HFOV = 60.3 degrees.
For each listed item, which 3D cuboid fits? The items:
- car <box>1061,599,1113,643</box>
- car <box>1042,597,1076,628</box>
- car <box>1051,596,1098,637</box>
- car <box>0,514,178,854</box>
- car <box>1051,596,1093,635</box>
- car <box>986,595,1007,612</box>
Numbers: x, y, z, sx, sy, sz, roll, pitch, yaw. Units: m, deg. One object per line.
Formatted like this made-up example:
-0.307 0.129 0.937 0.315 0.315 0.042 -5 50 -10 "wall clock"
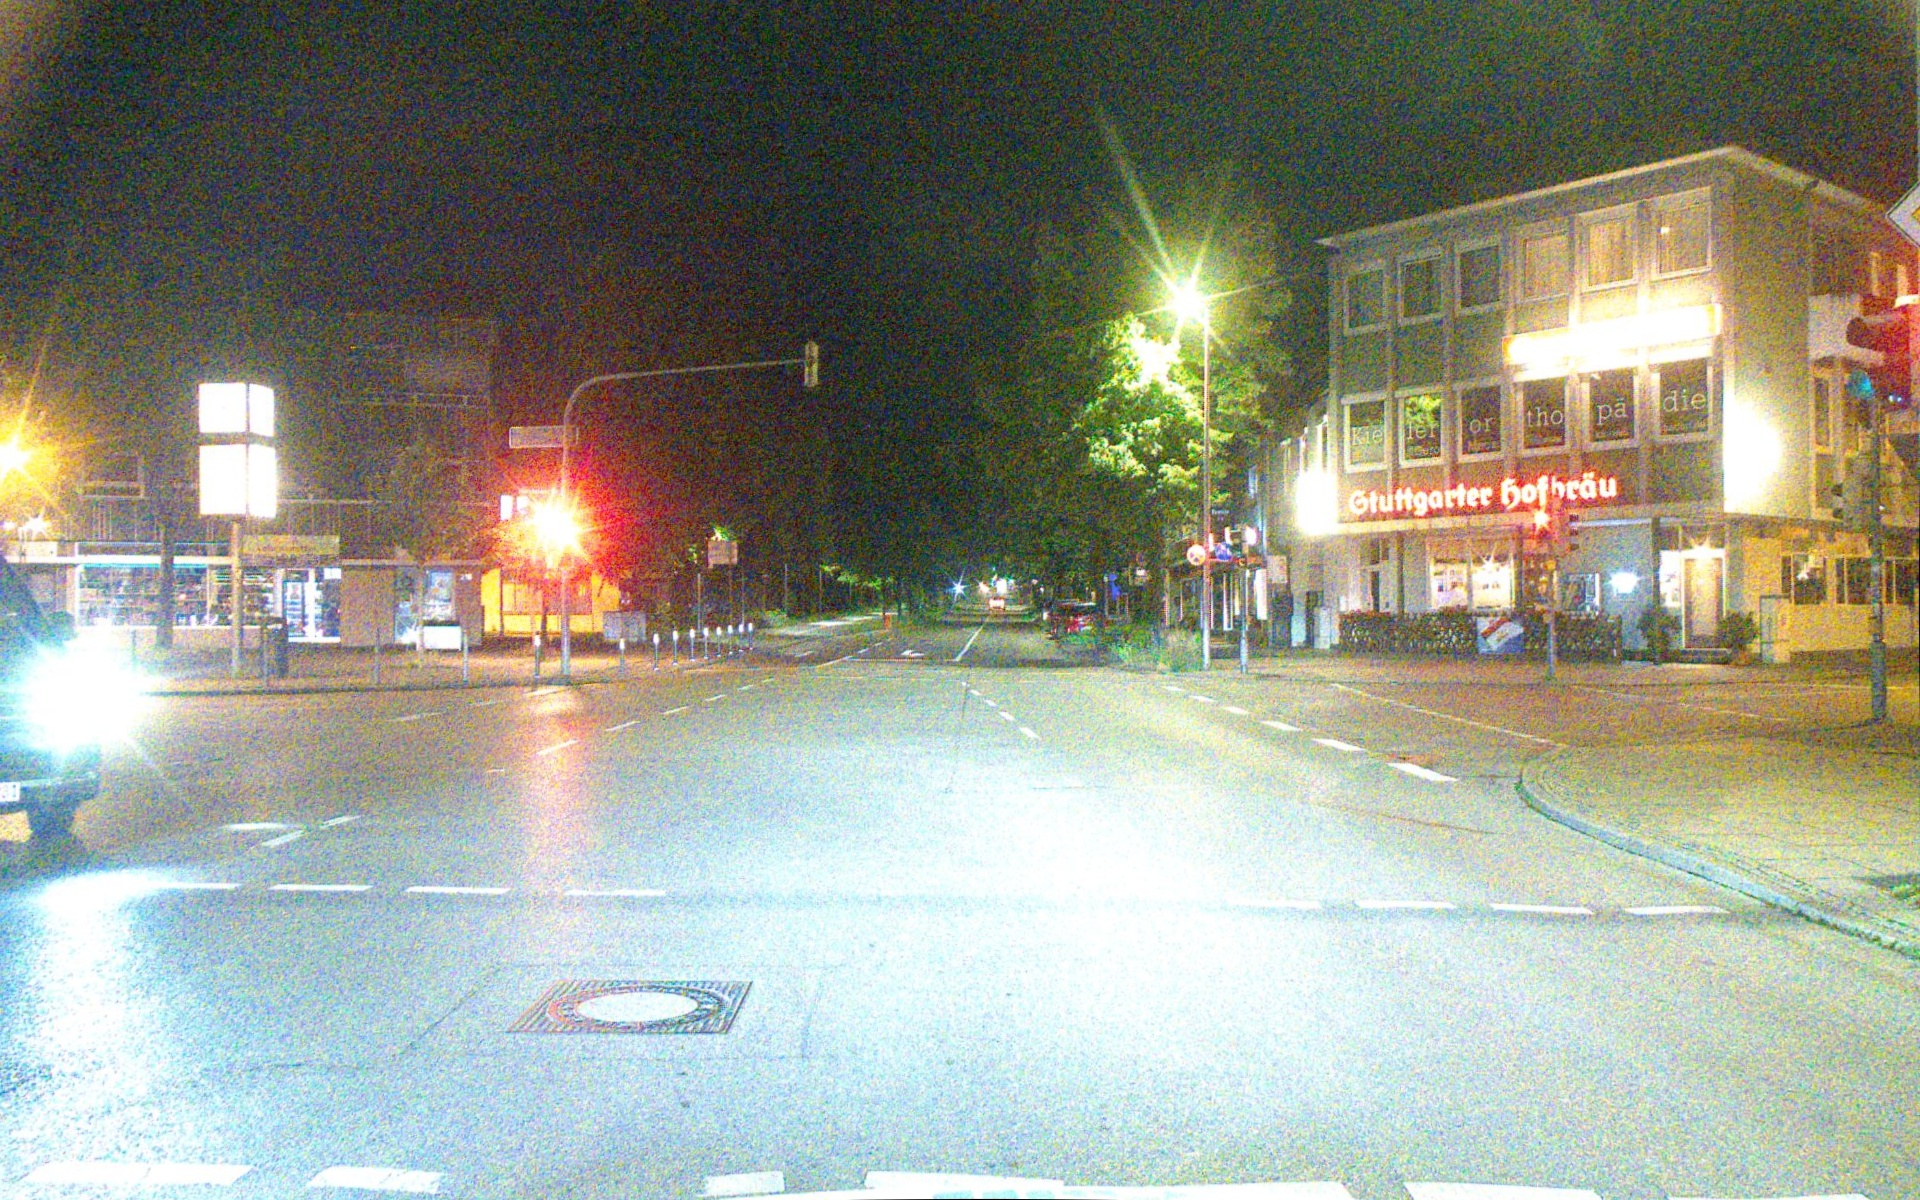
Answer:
4.859 0.803 63.807 1.837 1.643 4.001 0 0 2 "car"
5.655 0.717 94.625 1.837 1.713 4.001 0 0 2 "car"
4.731 0.678 68.860 1.837 1.643 4.001 0 0 2 "car"
-7.306 0.485 10.694 4.812 1.904 1.966 0 0 35 "car"
5.155 0.707 76.537 1.837 1.759 4.001 0 0 2 "car"
3.727 0.350 168.691 2.181 1.680 4.001 0 0 1 "car"
